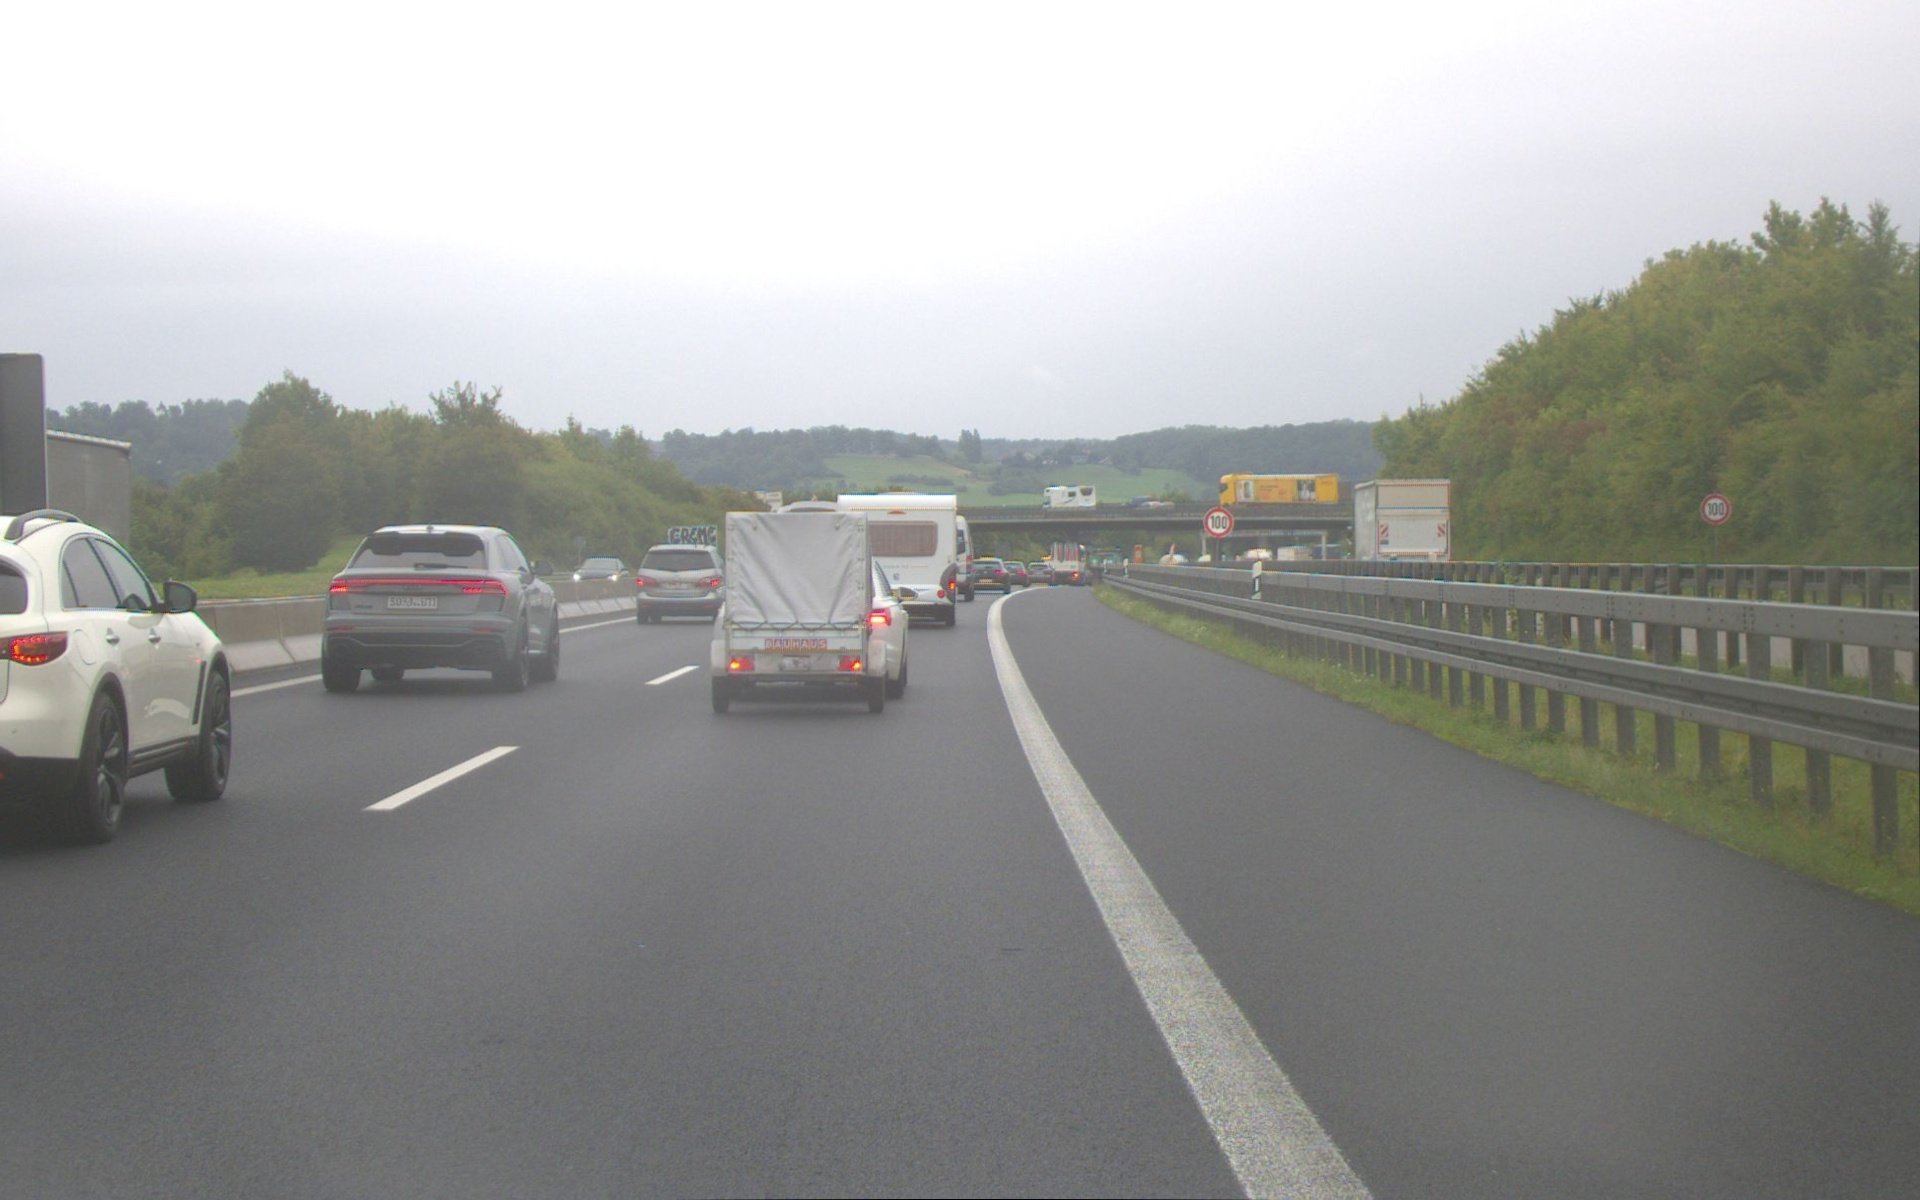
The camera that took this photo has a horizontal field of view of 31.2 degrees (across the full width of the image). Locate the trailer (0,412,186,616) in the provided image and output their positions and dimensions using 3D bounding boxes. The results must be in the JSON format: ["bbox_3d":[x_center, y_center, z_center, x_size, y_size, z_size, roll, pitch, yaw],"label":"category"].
[{"bbox_3d":[-20.446,-1.849,75.607,3.260,4.069,13.845,0,1,2],"label":"trailer"}]

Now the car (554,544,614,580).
[{"bbox_3d":[-15.114,-1.551,138.260,1.900,1.400,4.379,0,1,0],"label":"car"}]

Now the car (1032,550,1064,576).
[{"bbox_3d":[5.960,-2.503,232.750,1.994,1.744,4.000,1,1,4],"label":"car"}]

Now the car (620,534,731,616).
[{"bbox_3d":[-5.755,-0.526,69.991,1.900,1.607,4.017,0,1,0],"label":"car"}]

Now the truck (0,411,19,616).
[{"bbox_3d":[-20.774,-1.665,65.731,3.260,4.069,7.441,0,1,2],"label":"truck"}]

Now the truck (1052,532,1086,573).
[{"bbox_3d":[8.250,-3.585,259.902,2.278,3.072,7.245,1,1,4],"label":"truck"}]

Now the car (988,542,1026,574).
[{"bbox_3d":[2.622,-2.342,190.753,1.994,1.744,4.000,1,1,3],"label":"car"}]

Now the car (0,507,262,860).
[{"bbox_3d":[-5.093,0.360,18.167,1.976,1.633,4.501,0,1,-1],"label":"car"}]

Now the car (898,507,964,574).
[{"bbox_3d":[-0.922,-1.857,107.599,1.993,2.029,4.152,1,1,-1],"label":"car"}]

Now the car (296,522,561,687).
[{"bbox_3d":[-5.508,0.013,36.200,2.174,1.626,4.501,0,1,-1],"label":"car"}]

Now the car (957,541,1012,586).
[{"bbox_3d":[0.978,-1.427,134.738,1.994,1.744,4.000,1,1,3],"label":"car"}]

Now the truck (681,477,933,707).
[{"bbox_3d":[-1.350,-0.132,33.296,2.019,1.979,7.213,0,1,1],"label":"truck"}]

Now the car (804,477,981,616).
[{"bbox_3d":[-1.249,-1.067,67.608,3.017,2.607,6.074,0,1,3],"label":"car"}]

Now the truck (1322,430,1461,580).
[{"bbox_3d":[15.307,-3.350,122.782,4.094,5.086,10.463,0,1,3],"label":"truck"}]
